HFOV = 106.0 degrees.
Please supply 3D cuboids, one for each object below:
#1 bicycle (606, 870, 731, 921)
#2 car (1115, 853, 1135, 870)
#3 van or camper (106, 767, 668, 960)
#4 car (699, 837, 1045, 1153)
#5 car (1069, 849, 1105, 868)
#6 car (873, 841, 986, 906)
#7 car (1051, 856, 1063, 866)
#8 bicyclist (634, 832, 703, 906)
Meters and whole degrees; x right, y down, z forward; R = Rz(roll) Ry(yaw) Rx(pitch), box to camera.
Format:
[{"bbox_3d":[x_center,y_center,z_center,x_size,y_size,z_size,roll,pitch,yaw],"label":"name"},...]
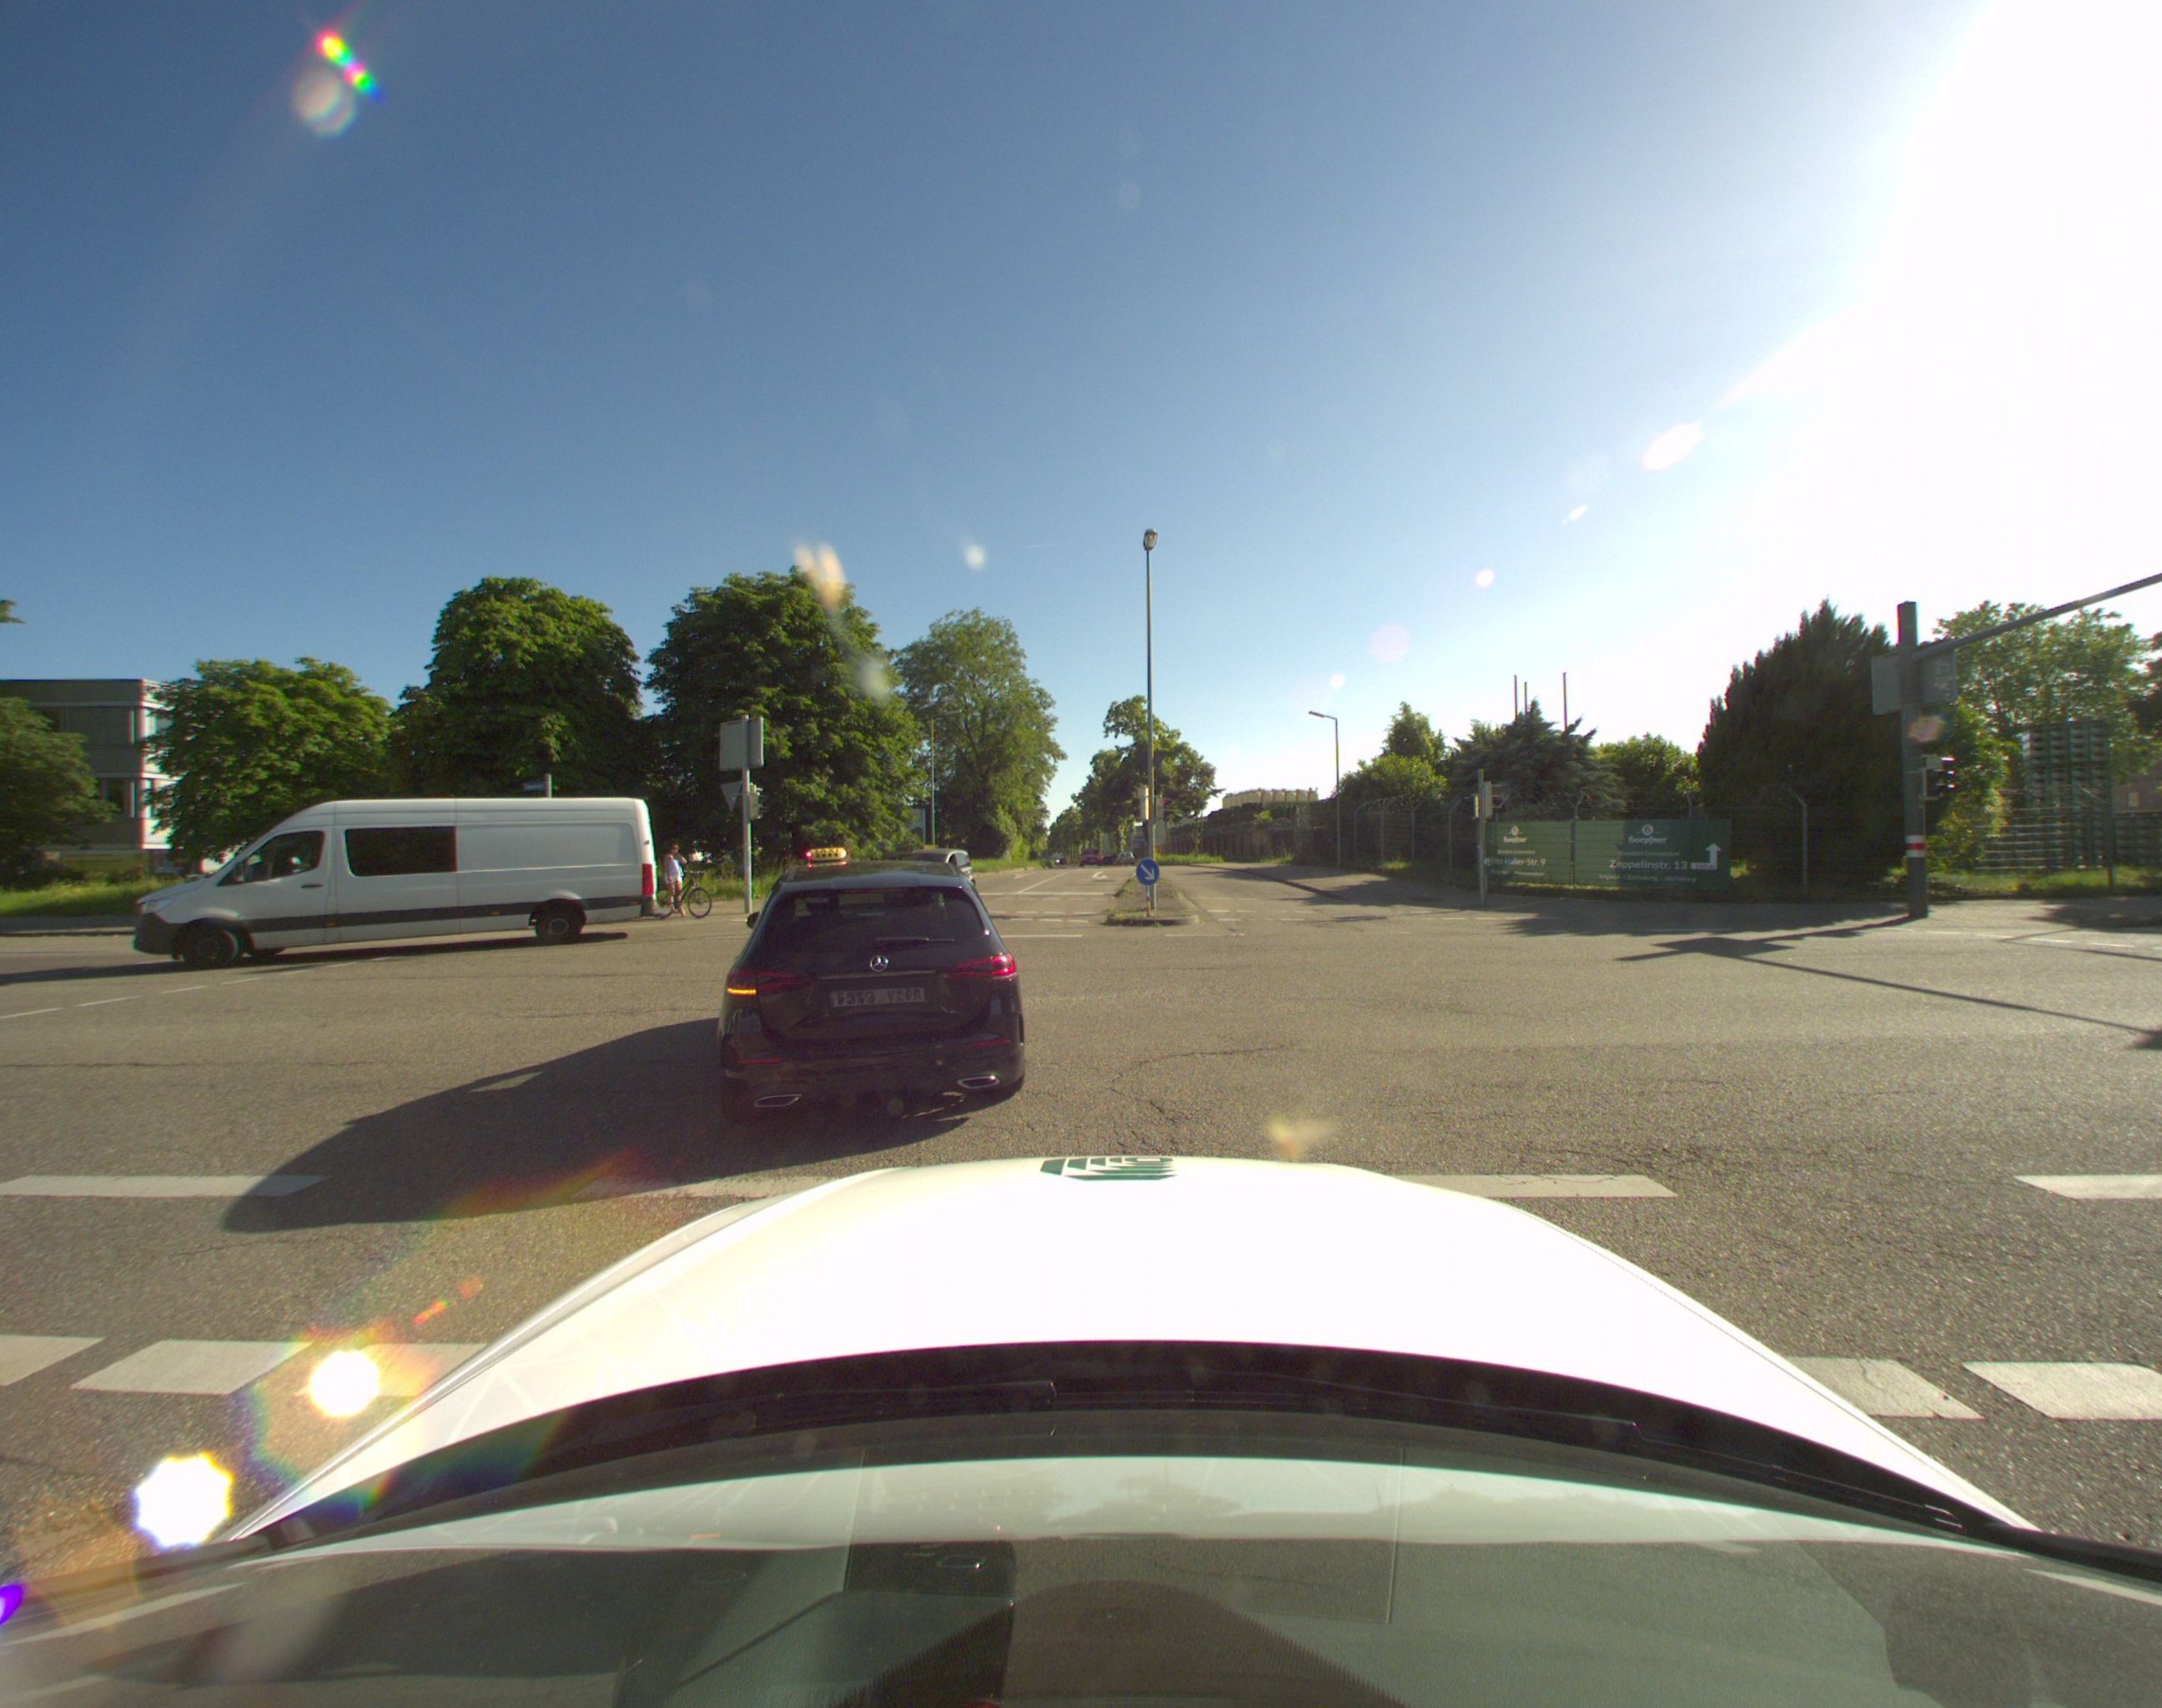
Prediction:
[{"bbox_3d":[-9.772,0.951,19.265,2.918,1.125,0.908,-1,-1,21],"label":"bicycle"},{"bbox_3d":[4.535,0.773,84.402,1.686,1.632,3.125,-1,0,-5],"label":"car"},{"bbox_3d":[-11.276,0.136,14.292,7.101,2.739,2.212,0,-1,-30],"label":"van or camper"},{"bbox_3d":[-1.447,0.726,6.310,1.770,1.592,3.974,-1,0,-11],"label":"car"},{"bbox_3d":[0.430,0.359,64.853,1.860,1.469,4.119,-1,0,-14],"label":"car"},{"bbox_3d":[-4.146,0.505,22.962,1.793,1.640,4.011,-1,0,10],"label":"car"},{"bbox_3d":[-3.744,1.097,125.284,1.853,1.469,4.135,-1,0,-2],"label":"car"},{"bbox_3d":[-9.740,0.355,19.266,1.176,1.693,0.897,-1,-1,21],"label":"bicyclist"}]
